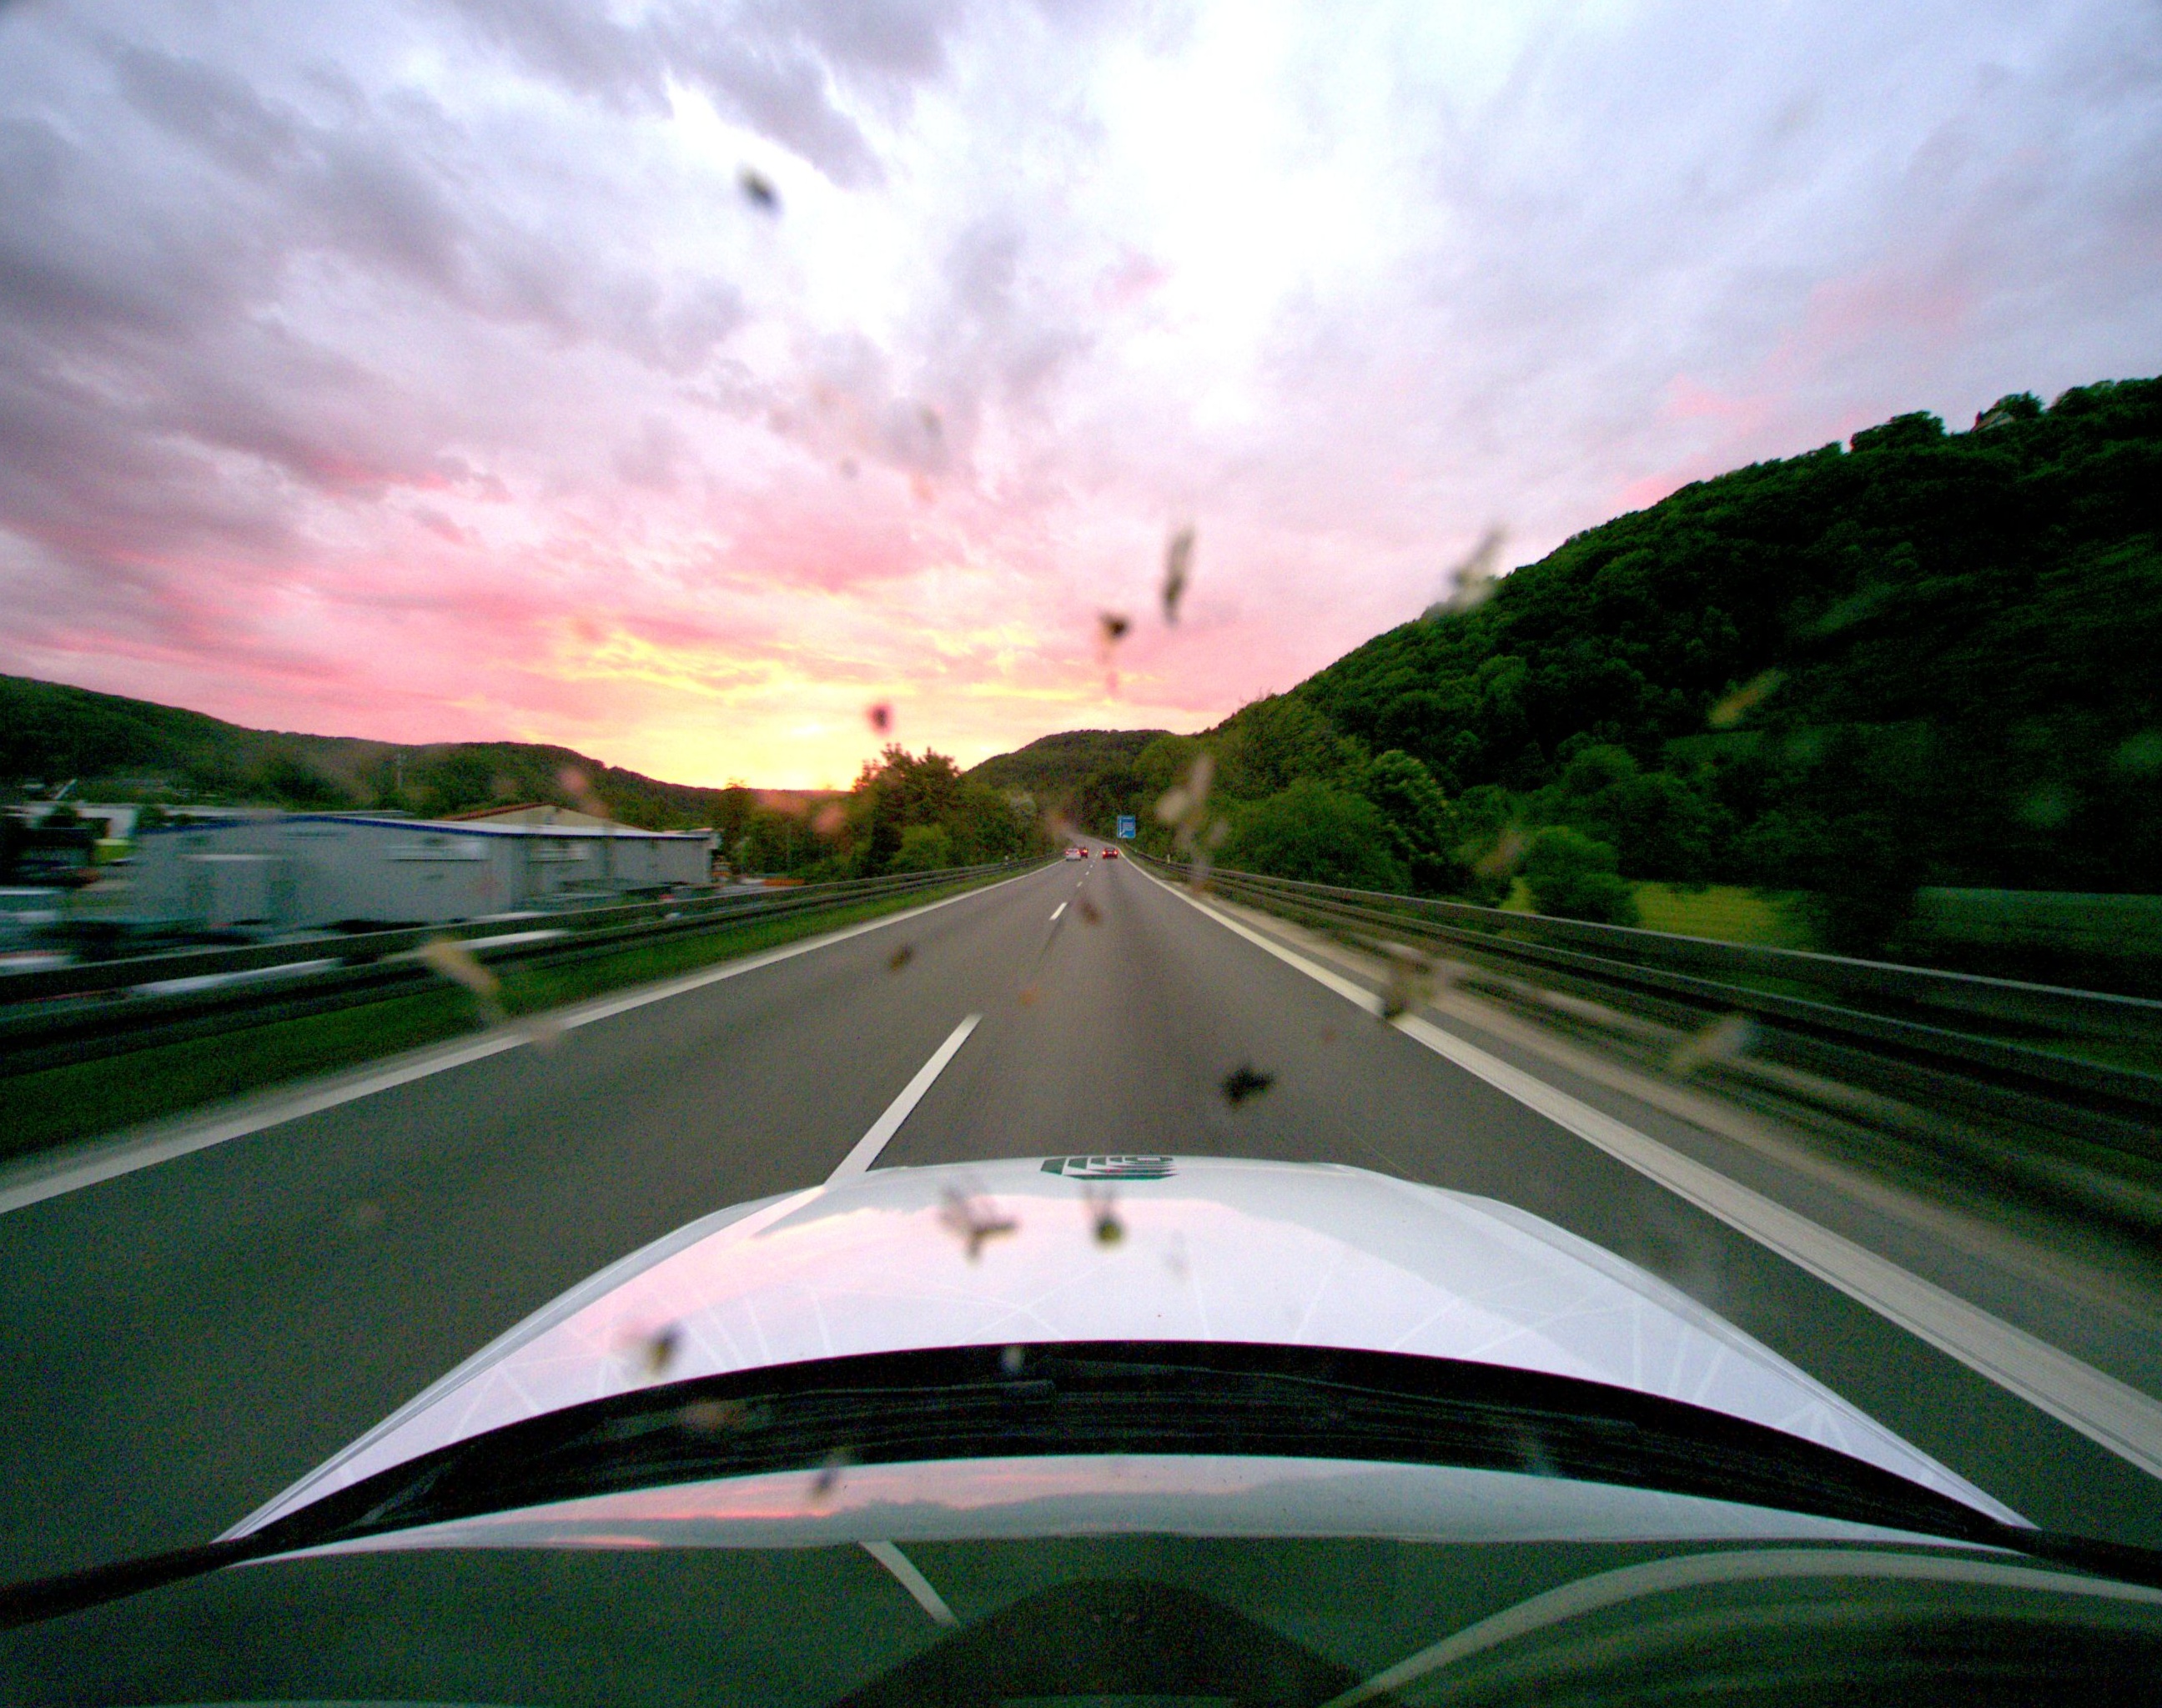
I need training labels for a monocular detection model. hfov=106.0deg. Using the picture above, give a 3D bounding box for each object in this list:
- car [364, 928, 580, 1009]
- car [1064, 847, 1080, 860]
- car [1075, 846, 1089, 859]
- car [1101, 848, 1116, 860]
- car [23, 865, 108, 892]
[{"bbox_3d":[-14.555,2.702,19.577,3.966,1.693,1.776,-1,-1,6],"label":"car"},{"bbox_3d":[-1.046,-0.084,98.851,1.712,1.501,4.002,-2,1,1],"label":"car"},{"bbox_3d":[0.155,-0.208,112.688,1.712,1.635,4.002,-2,1,1],"label":"car"},{"bbox_3d":[3.560,0.036,106.173,1.871,1.466,4.002,-2,1,1],"label":"car"},{"bbox_3d":[-80.887,1.915,64.931,1.975,2.014,4.023,-1,-1,45],"label":"car"}]
